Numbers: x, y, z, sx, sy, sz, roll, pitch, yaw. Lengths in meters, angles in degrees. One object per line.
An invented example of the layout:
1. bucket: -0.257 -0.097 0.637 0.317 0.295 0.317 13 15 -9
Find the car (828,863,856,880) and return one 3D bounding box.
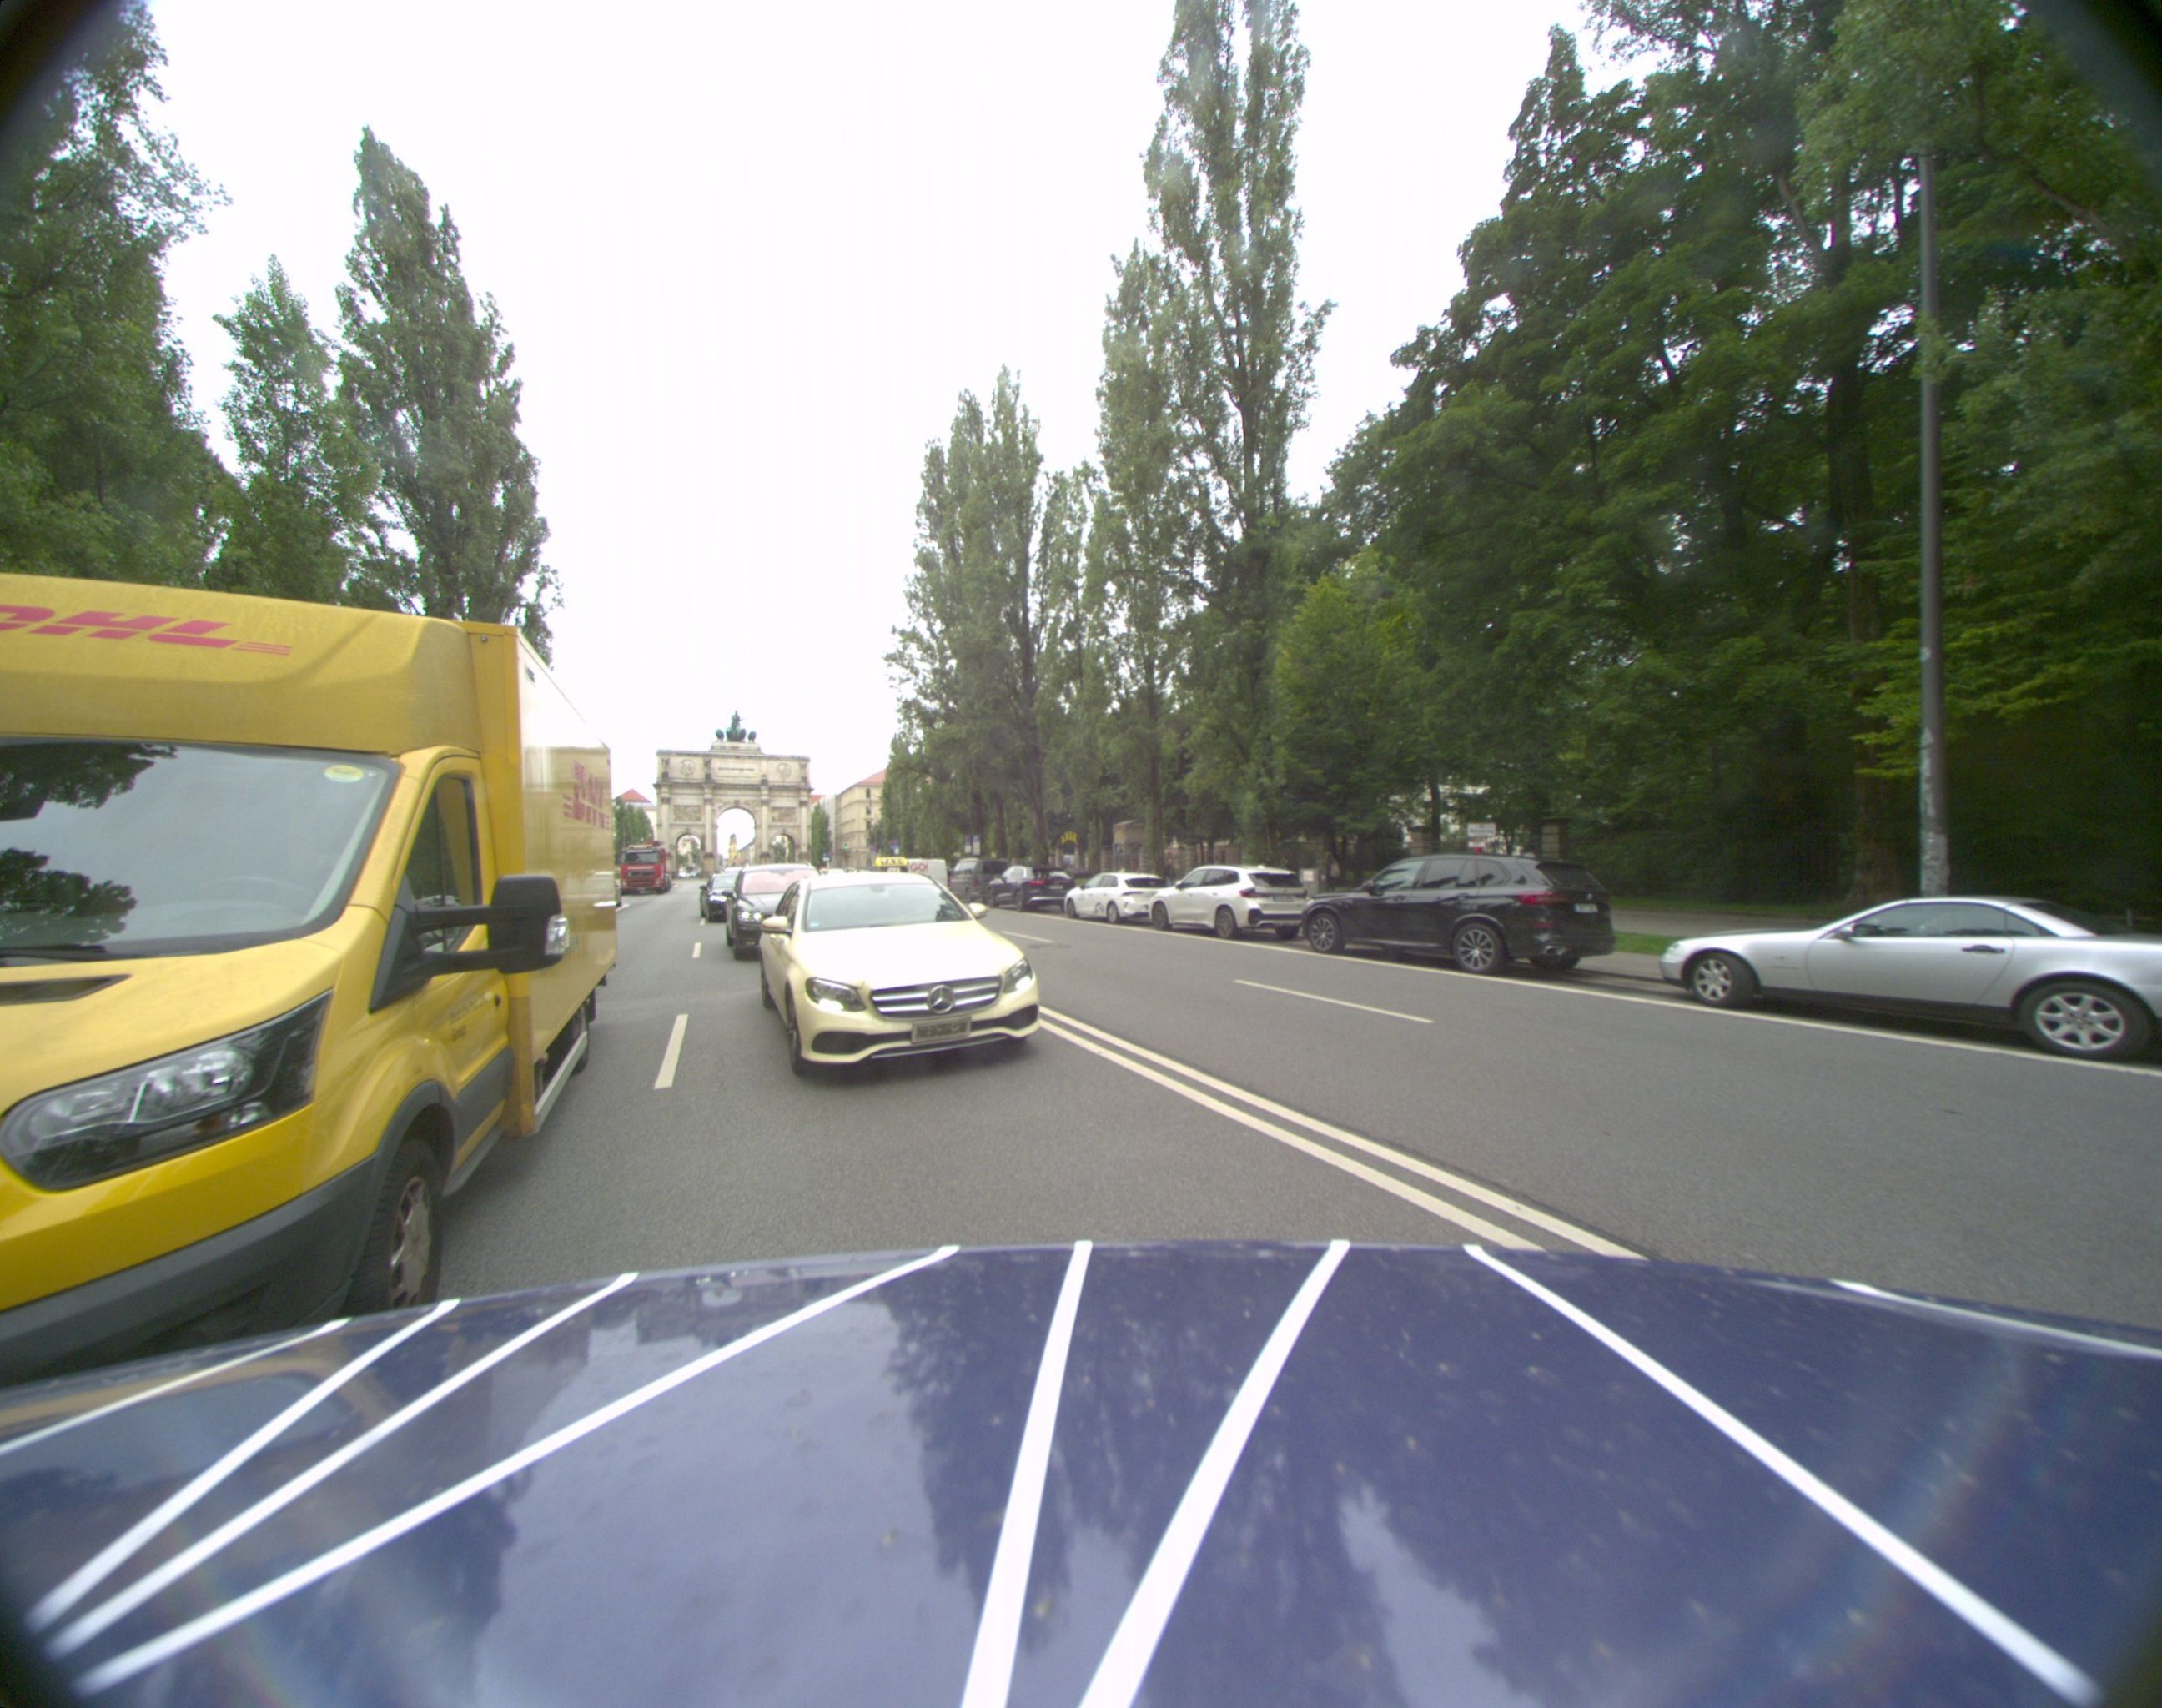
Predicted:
1. car: -23.415 1.667 74.326 1.946 1.615 4.954 0 0 -26

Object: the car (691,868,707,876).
1. car: -81.657 3.814 162.620 1.788 1.739 4.317 -1 -1 -9

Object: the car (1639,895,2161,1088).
1. car: 8.061 1.117 7.353 1.588 1.297 4.020 1 -1 -25

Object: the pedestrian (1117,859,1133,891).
1. pedestrian: 2.449 1.159 42.391 0.552 1.737 0.671 -2 1 -26

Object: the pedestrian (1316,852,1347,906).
1. pedestrian: 8.627 0.850 26.150 0.643 1.804 0.774 -1 0 -26

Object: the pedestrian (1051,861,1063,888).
1. pedestrian: -1.557 1.315 48.647 0.552 1.691 0.531 -2 1 -26

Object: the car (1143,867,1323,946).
1. car: 3.314 1.102 17.550 1.794 1.579 4.452 1 -2 -25

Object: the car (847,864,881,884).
1. car: -17.508 1.601 61.136 1.940 1.488 4.781 0 -1 -25

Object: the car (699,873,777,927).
1. car: -10.690 1.336 23.507 1.926 1.320 4.402 -3 1 -27

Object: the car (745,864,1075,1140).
1. car: -1.969 0.937 7.140 1.923 1.566 4.679 -3 1 -26

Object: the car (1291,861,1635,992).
1. car: 5.742 0.986 12.156 1.889 1.648 4.708 2 -2 -27

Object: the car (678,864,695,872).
1. car: -81.273 2.858 156.482 1.788 1.739 4.317 -1 -1 -9

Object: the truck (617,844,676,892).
1. truck: -30.463 0.960 53.638 2.726 3.091 10.405 -1 0 -25

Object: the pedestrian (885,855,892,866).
1. pedestrian: -35.349 1.140 139.421 0.754 2.002 0.796 -1 0 30

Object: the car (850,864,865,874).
1. car: -40.825 2.722 138.810 2.008 1.844 4.980 1 0 -24

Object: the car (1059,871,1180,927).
1. car: 1.008 1.236 22.210 1.684 1.413 4.228 1 -1 -26

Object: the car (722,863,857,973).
1. car: -5.610 1.030 14.266 1.957 1.615 4.402 -3 1 -26

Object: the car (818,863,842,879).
1. car: -26.660 1.804 80.629 1.827 1.550 4.848 1 -1 -26

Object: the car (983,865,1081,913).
1. car: -1.920 1.224 28.033 1.824 1.599 5.042 2 -1 -26

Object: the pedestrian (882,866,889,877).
1. pedestrian: -29.382 2.600 114.282 0.847 1.668 0.966 -1 0 -8

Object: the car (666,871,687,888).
1. car: -41.804 2.609 78.547 1.812 1.619 3.992 -1 0 -27

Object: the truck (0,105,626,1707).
1. truck: -4.185 0.319 4.050 2.338 2.881 7.317 -1 0 -26

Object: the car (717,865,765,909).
1. car: -15.839 1.484 35.338 1.893 1.846 4.304 -1 0 -25

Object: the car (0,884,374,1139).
1. car: -8.384 1.157 6.814 1.789 1.572 4.138 -3 1 -26

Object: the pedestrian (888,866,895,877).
1. pedestrian: -28.480 2.575 114.319 0.847 1.668 0.966 -1 0 -8

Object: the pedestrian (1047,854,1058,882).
1. pedestrian: -1.978 0.971 52.897 0.552 1.948 0.531 -2 1 -26

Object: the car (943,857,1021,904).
1. car: -4.512 1.134 34.000 2.003 1.944 4.927 1 -1 -26

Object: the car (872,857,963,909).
1. car: -6.757 1.109 30.825 2.193 1.880 5.683 1 -1 -27
